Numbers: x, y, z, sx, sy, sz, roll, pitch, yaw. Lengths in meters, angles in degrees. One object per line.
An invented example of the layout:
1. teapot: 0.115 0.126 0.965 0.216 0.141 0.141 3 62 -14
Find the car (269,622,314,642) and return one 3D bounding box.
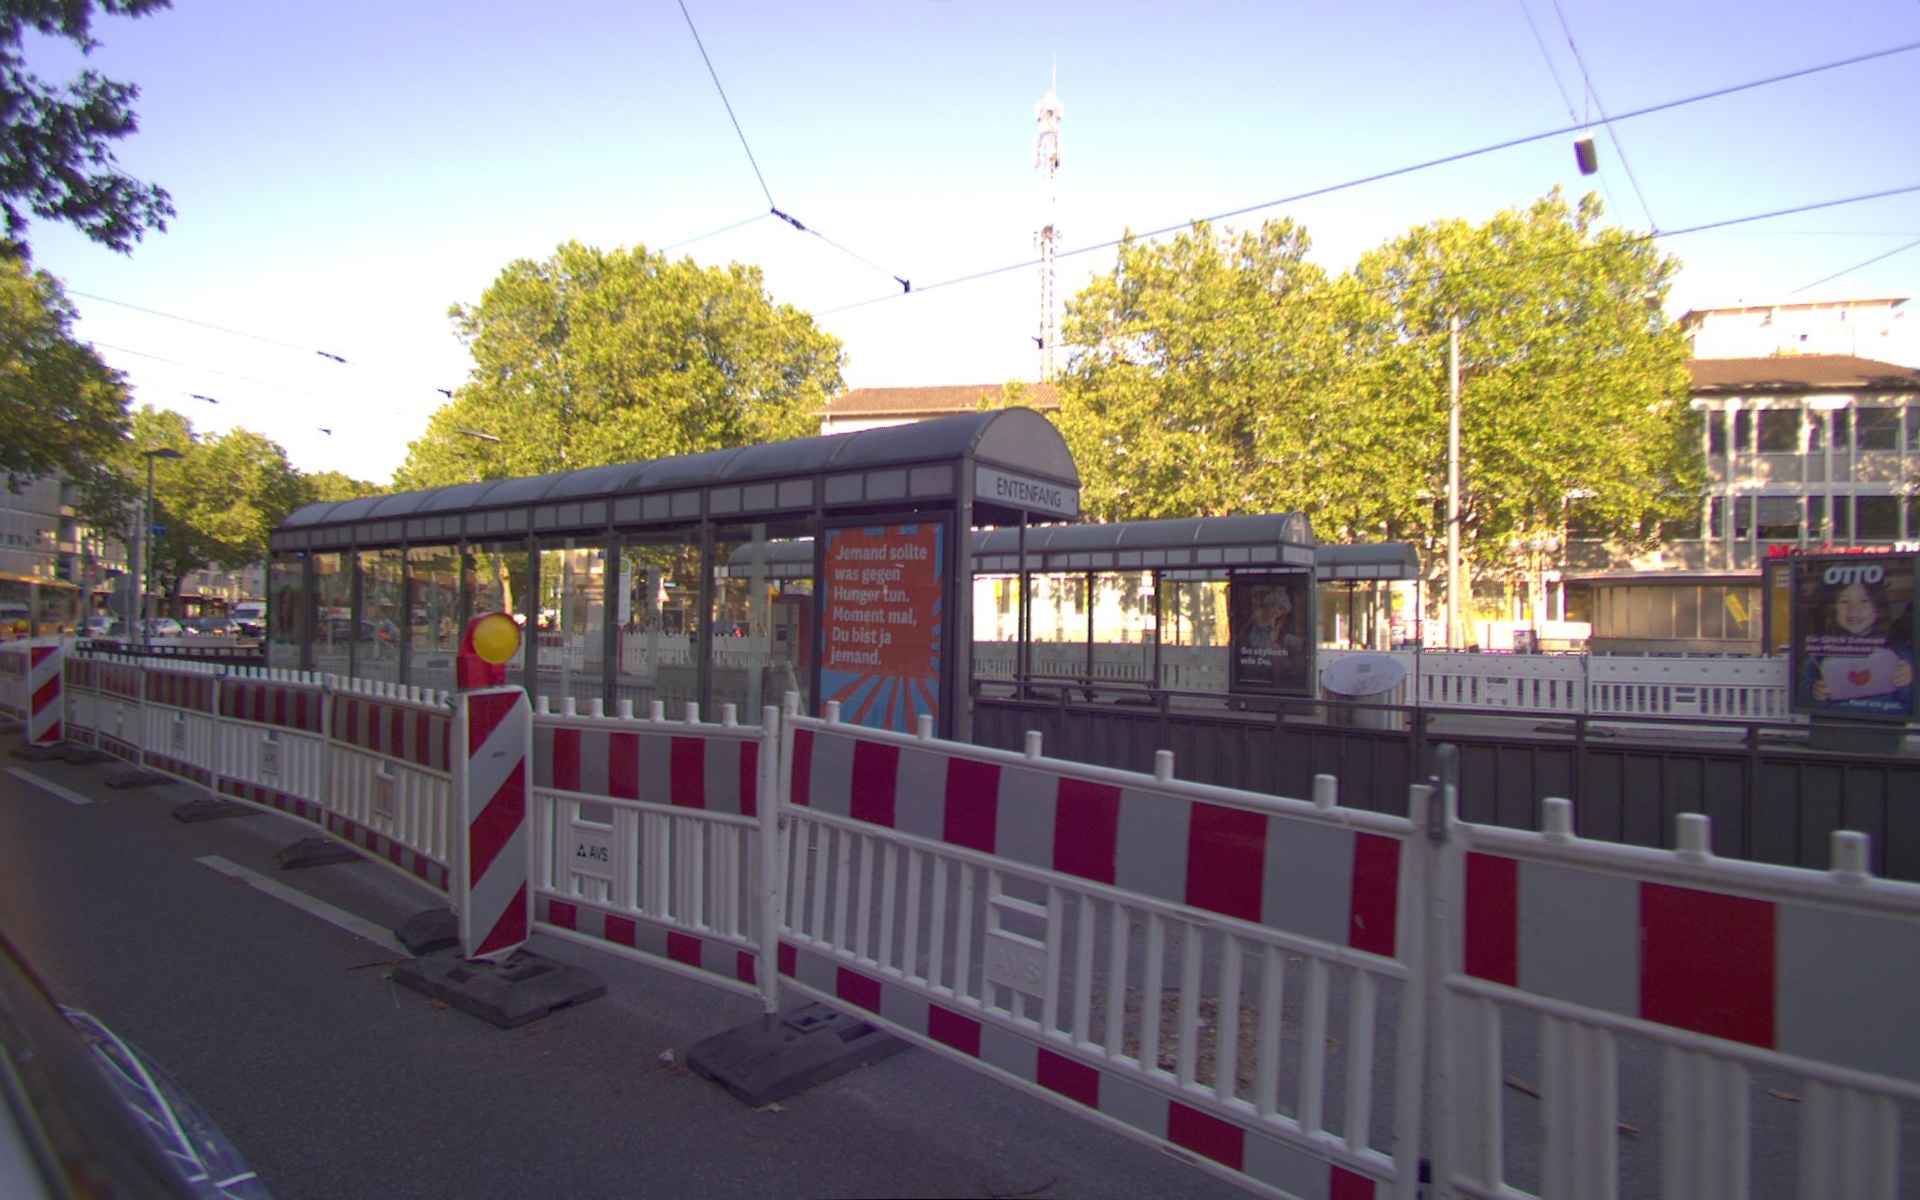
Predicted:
1. car: -56.449 2.679 85.538 1.966 1.608 4.010 1 -2 -14

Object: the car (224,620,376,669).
1. car: -25.055 1.704 38.585 4.364 1.660 2.005 3 -4 -14

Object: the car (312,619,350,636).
1. car: -59.179 2.602 95.301 1.966 1.608 4.011 1 -2 -15

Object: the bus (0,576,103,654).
1. bus: -42.995 0.773 47.204 2.693 3.231 12.397 -1 -1 -32

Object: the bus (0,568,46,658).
1. bus: -36.595 0.518 37.136 2.694 3.231 12.339 -1 -1 -34

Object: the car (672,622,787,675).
1. car: -8.465 1.716 37.049 3.991 1.829 1.976 -1 -2 36

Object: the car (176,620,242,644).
1. car: -51.318 2.169 69.245 1.966 1.608 4.573 1 -2 -14

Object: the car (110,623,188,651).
1. car: -49.392 2.271 61.740 1.966 1.608 4.573 1 -3 -14

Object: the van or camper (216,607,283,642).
1. van or camper: -54.357 1.865 77.549 2.254 2.558 5.508 0 -1 -13
